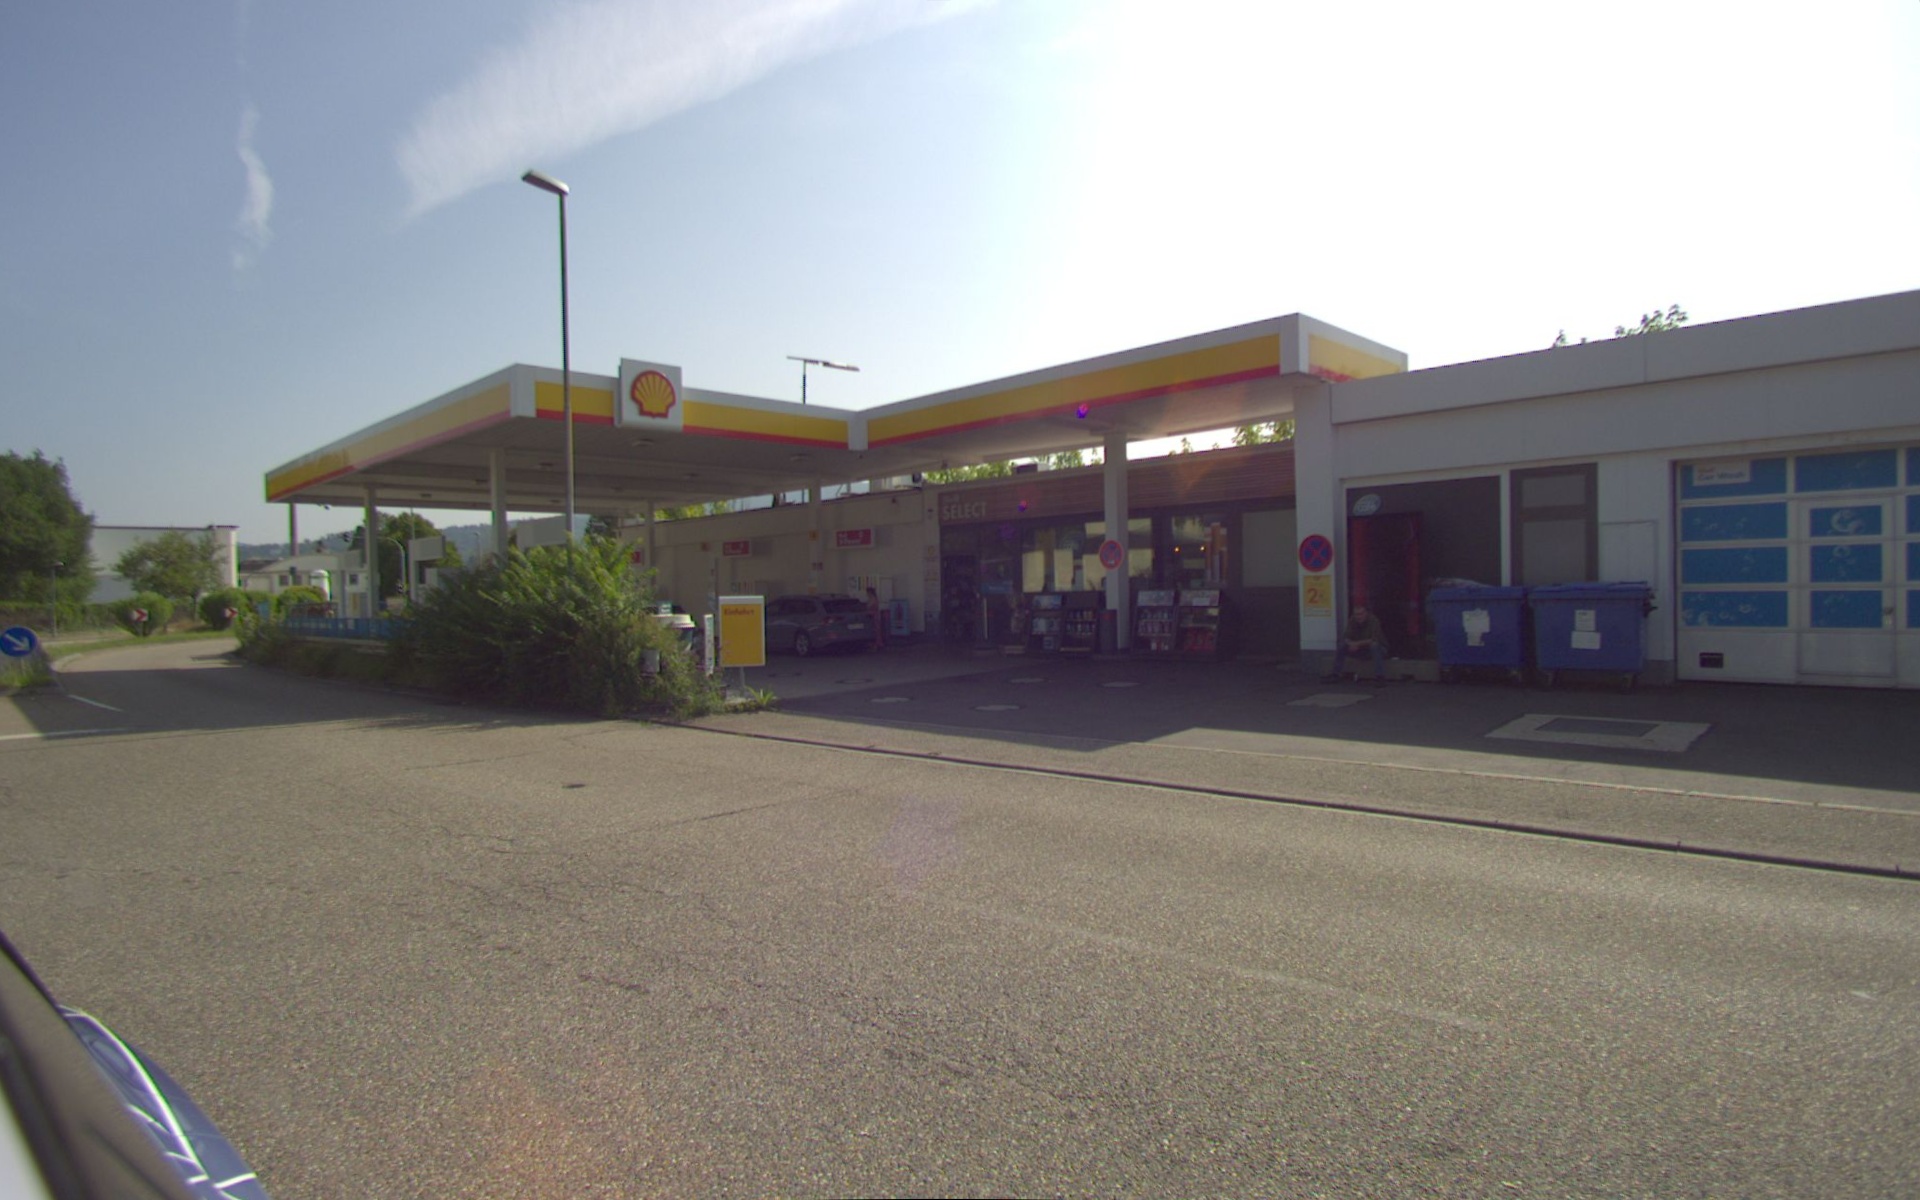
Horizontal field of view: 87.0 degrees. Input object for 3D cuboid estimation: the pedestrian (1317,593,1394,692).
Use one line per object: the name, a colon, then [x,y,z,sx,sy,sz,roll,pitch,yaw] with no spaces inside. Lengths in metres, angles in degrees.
pedestrian: [5.499,0.570,14.074,0.816,1.305,0.608,-1,2,43]

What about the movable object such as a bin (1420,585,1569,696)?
movable object such as a bin: [7.134,0.500,13.514,1.435,1.299,1.227,-1,4,45]

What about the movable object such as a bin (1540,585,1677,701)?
movable object such as a bin: [8.001,0.497,12.481,1.168,1.252,1.227,-1,4,45]

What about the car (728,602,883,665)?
car: [-3.887,0.774,25.014,1.609,1.422,4.230,0,0,-44]

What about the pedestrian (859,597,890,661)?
pedestrian: [-2.109,0.706,24.916,0.535,1.559,0.552,-1,0,45]
